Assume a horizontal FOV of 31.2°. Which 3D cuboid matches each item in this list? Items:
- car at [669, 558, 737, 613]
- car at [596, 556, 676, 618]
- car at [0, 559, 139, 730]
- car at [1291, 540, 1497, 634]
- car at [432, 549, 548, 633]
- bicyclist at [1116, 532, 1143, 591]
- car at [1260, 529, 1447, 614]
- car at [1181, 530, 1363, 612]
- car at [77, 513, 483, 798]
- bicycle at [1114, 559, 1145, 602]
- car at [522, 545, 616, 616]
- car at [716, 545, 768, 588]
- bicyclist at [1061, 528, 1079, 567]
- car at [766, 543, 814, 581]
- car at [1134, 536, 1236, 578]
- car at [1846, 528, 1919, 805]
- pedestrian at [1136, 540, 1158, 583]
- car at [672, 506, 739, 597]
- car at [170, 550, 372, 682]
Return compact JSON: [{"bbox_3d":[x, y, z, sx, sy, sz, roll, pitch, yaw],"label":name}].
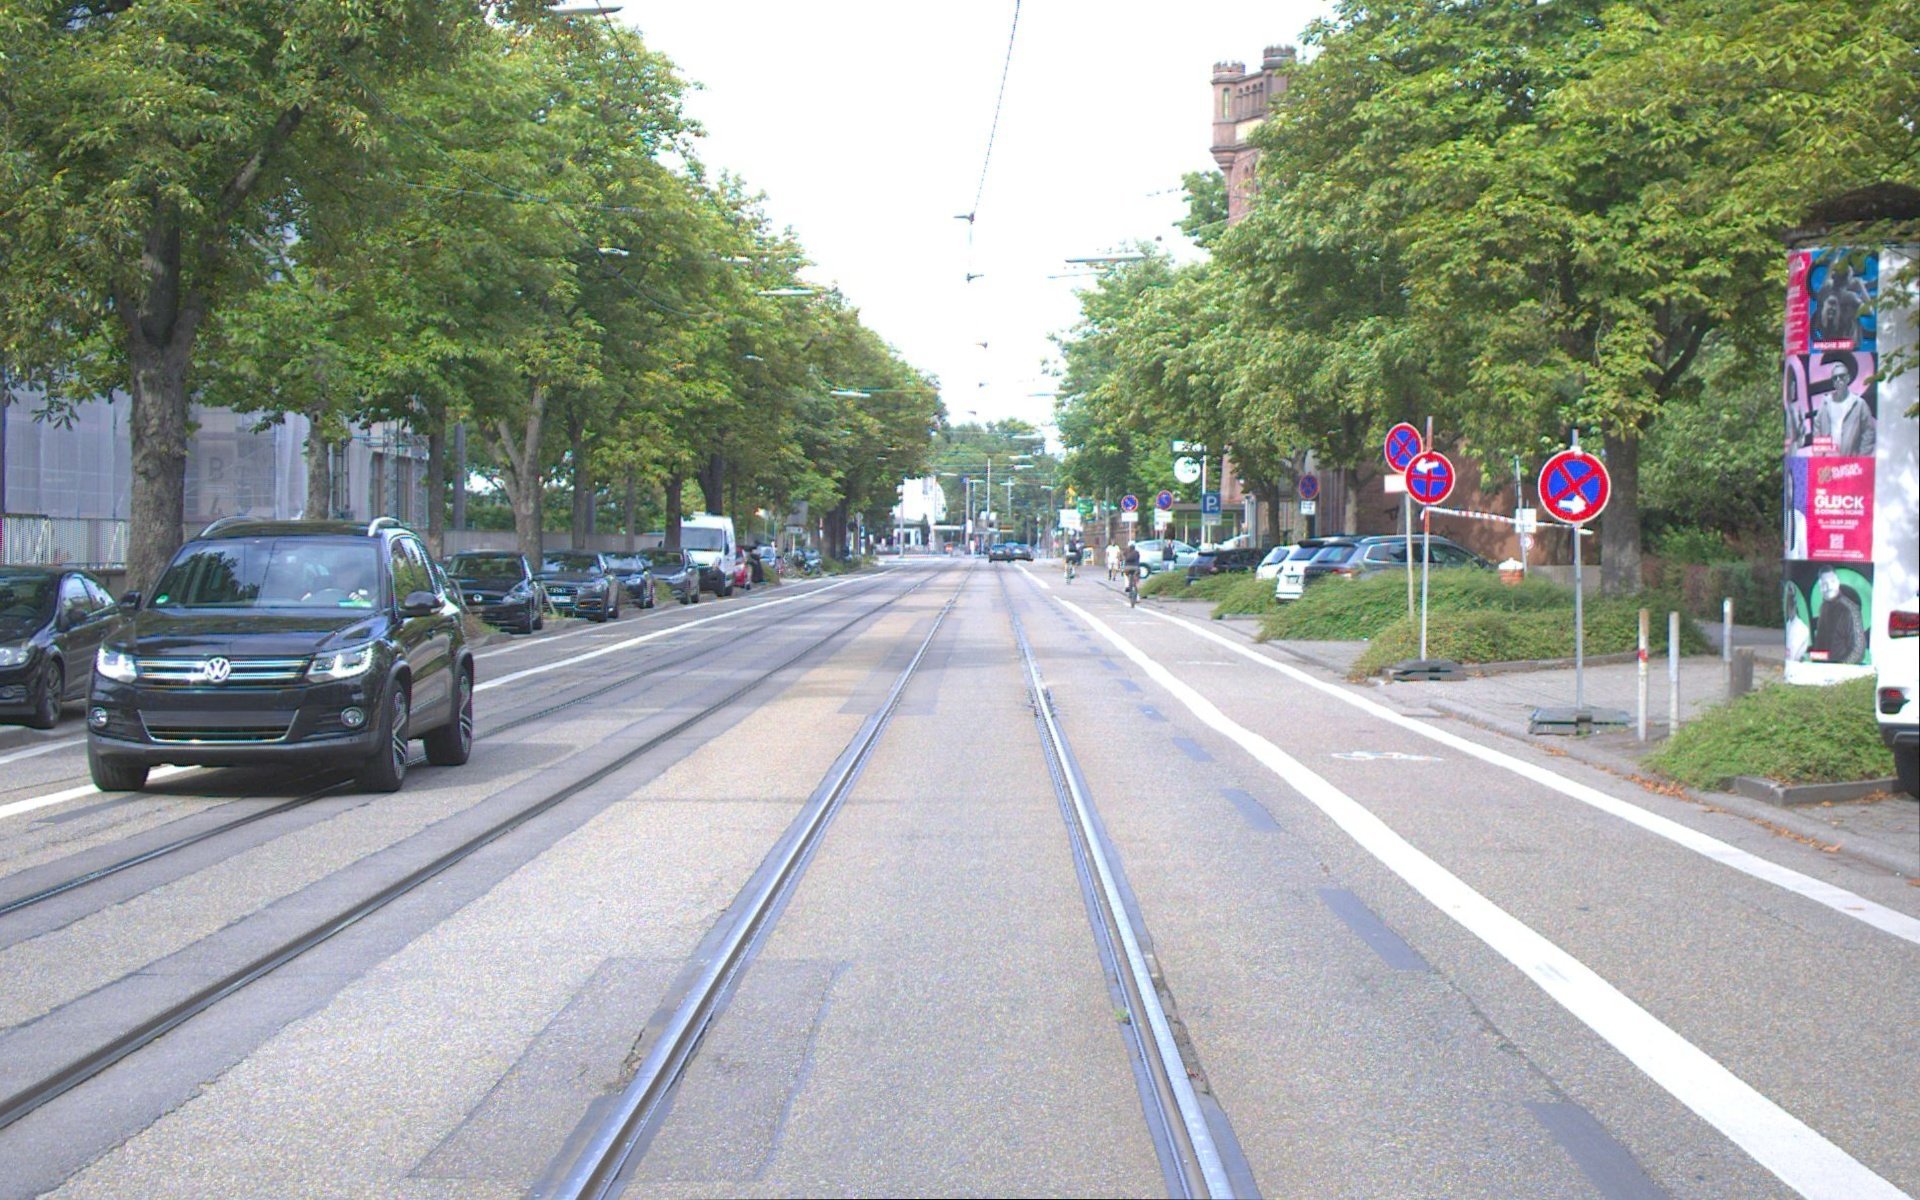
[{"bbox_3d":[-6.829,-0.399,91.586,1.590,1.398,3.963,1,1,-2],"label":"car"},{"bbox_3d":[-7.651,-0.318,81.397,1.590,1.398,3.963,1,1,-2],"label":"car"},{"bbox_3d":[-8.557,0.347,30.714,1.590,1.398,3.963,1,1,-2],"label":"car"},{"bbox_3d":[7.589,-0.231,59.943,3.637,1.597,1.681,0,1,-45],"label":"car"},{"bbox_3d":[-8.288,-0.183,60.882,1.590,1.398,3.963,1,1,-2],"label":"car"},{"bbox_3d":[4.222,-0.971,85.579,0.592,1.454,0.875,1,1,-2],"label":"bicyclist"},{"bbox_3d":[7.657,-0.552,66.739,3.637,1.597,1.681,0,1,-45],"label":"car"},{"bbox_3d":[6.261,-0.573,68.896,3.637,1.597,1.681,0,1,-45],"label":"car"},{"bbox_3d":[-4.220,0.276,22.001,1.732,1.623,4.378,-1,1,0],"label":"car"},{"bbox_3d":[4.212,-0.483,85.586,0.592,1.040,1.978,1,1,-2],"label":"bicycle"},{"bbox_3d":[-8.066,-0.422,71.178,1.590,1.398,3.963,1,1,-2],"label":"car"},{"bbox_3d":[-7.431,-1.159,117.423,1.590,1.398,3.963,1,1,-2],"label":"car"},{"bbox_3d":[4.208,-2.028,132.088,0.659,1.491,0.929,1,1,1],"label":"bicyclist"},{"bbox_3d":[-6.441,-1.440,130.366,1.590,1.398,3.550,1,1,1],"label":"car"},{"bbox_3d":[9.360,-1.806,143.090,3.986,1.687,2.000,1,1,-5],"label":"car"},{"bbox_3d":[7.097,0.388,20.904,3.637,1.597,1.681,0,1,-45],"label":"car"},{"bbox_3d":[7.775,-1.615,142.958,0.748,1.783,0.730,1,0,16],"label":"pedestrian"},{"bbox_3d":[-7.743,-1.490,104.936,1.720,2.695,5.471,1,1,-2],"label":"car"},{"bbox_3d":[-8.234,0.155,41.371,1.635,1.491,3.963,1,1,0],"label":"car"}]
